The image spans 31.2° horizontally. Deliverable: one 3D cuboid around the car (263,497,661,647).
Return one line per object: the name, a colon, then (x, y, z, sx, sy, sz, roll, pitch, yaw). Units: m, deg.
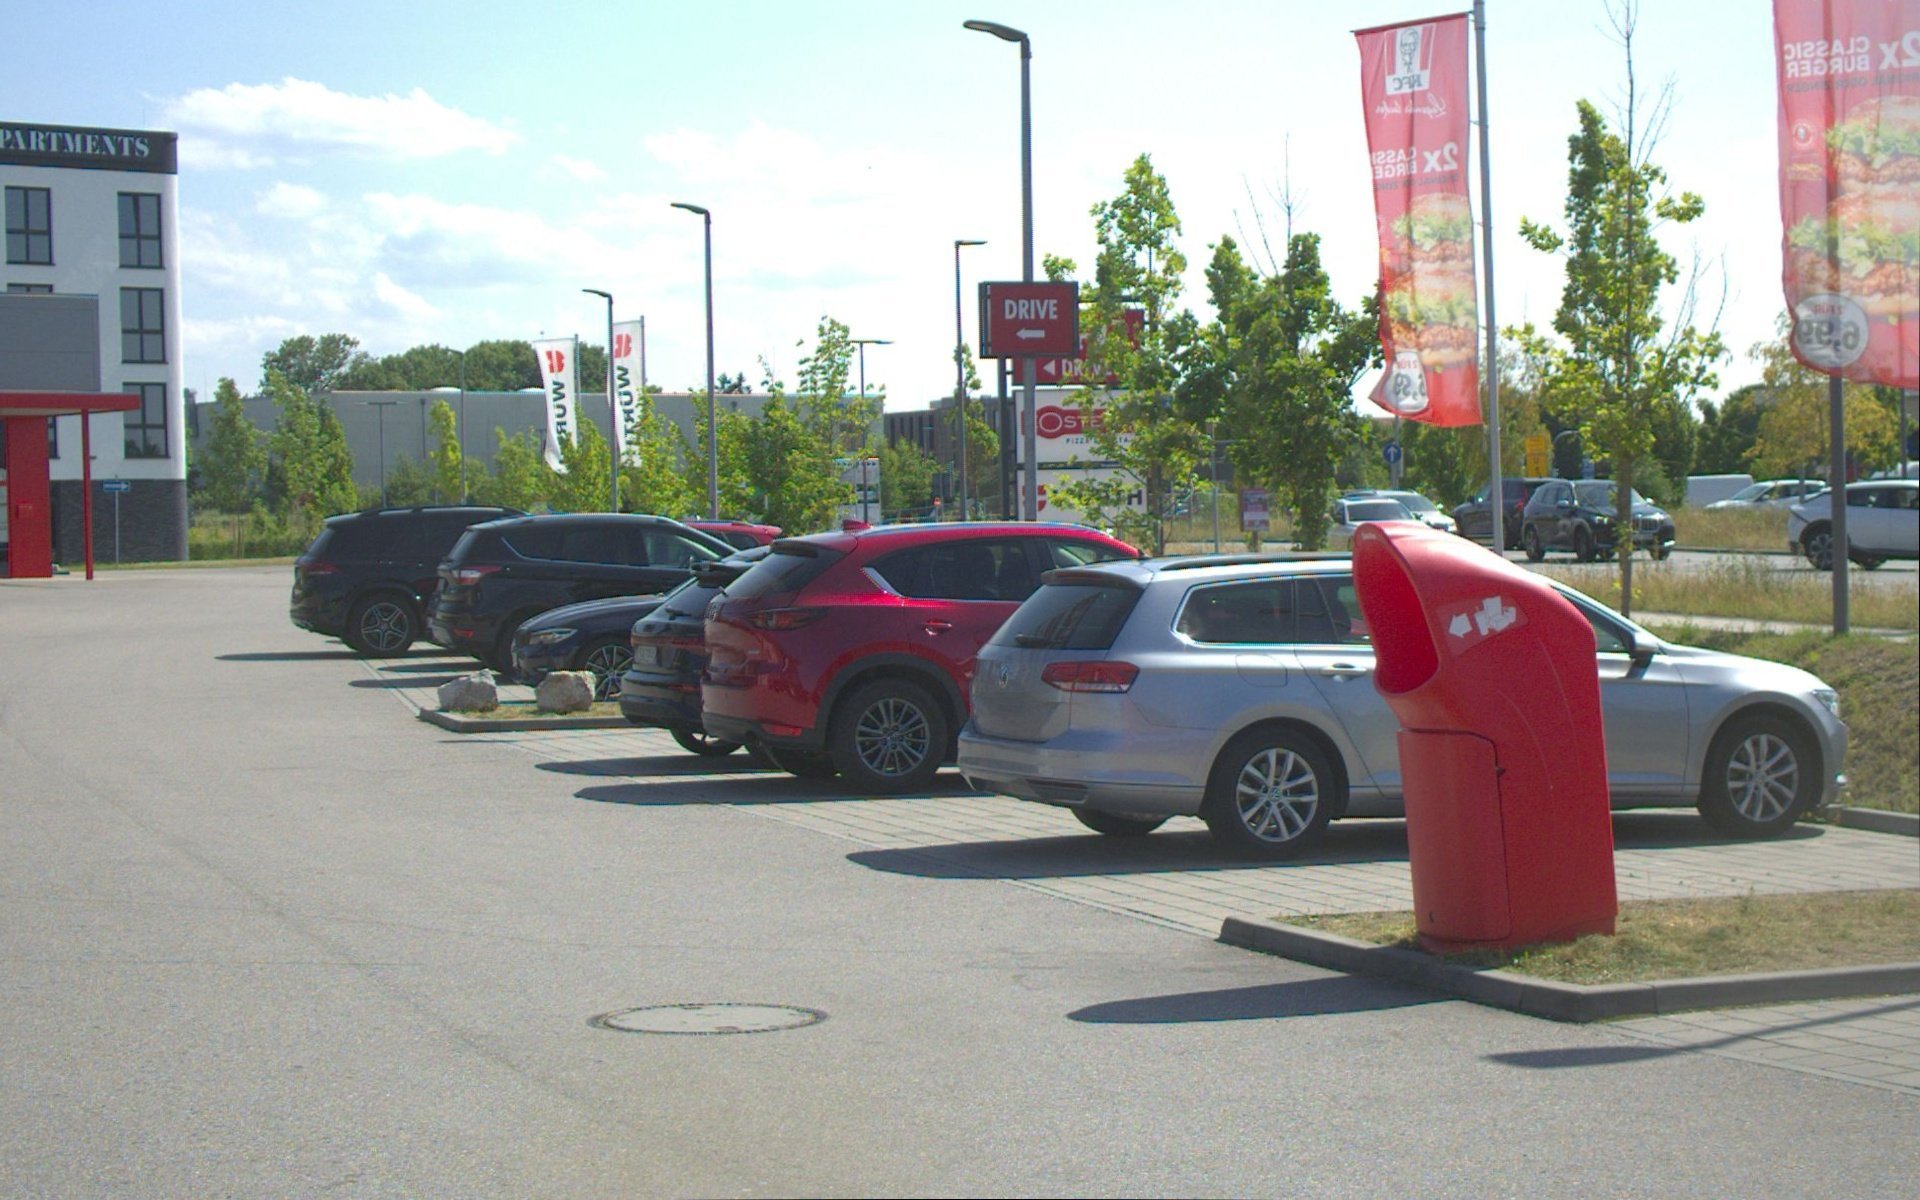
car: (-6.061, -0.365, 41.731, 4.574, 1.754, 1.896, 0, 1, -15)

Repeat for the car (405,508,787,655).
car: (-4.182, -0.241, 39.301, 4.067, 1.603, 1.896, 0, 2, -16)

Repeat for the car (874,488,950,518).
car: (-2.710, -5.486, 194.768, 3.947, 1.652, 1.906, -3, 3, -40)

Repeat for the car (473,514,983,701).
car: (-2.170, 0.032, 31.709, 4.435, 1.632, 1.896, 0, 1, -13)

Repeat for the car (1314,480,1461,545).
car: (10.315, -2.145, 83.226, 1.993, 1.499, 4.659, -1, 2, -14)

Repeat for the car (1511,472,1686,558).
car: (12.986, -1.766, 70.163, 1.872, 1.658, 4.605, -1, 2, -12)

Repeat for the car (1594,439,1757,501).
car: (23.833, -4.343, 114.539, 5.059, 2.006, 2.001, -2, 2, -23)

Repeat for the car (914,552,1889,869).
car: (2.222, 0.485, 17.330, 4.585, 1.408, 1.741, -1, 1, -20)

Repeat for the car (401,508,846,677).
car: (-3.554, -0.119, 36.230, 4.317, 1.697, 1.896, -1, 1, -20)

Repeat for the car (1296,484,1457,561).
car: (8.698, -1.661, 72.180, 1.993, 1.521, 4.659, -1, 2, -11)

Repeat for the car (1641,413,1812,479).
car: (24.271, -4.881, 108.883, 5.059, 2.006, 2.001, -2, 2, -23)

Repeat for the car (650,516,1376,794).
car: (0.318, 0.285, 21.966, 4.216, 1.632, 1.951, -1, 1, -20)

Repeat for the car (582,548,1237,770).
car: (-0.350, 0.359, 23.907, 4.192, 1.405, 1.774, -1, 1, -23)

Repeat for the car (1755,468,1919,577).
car: (16.319, -1.366, 59.871, 4.403, 1.839, 1.995, 1, 3, 41)
